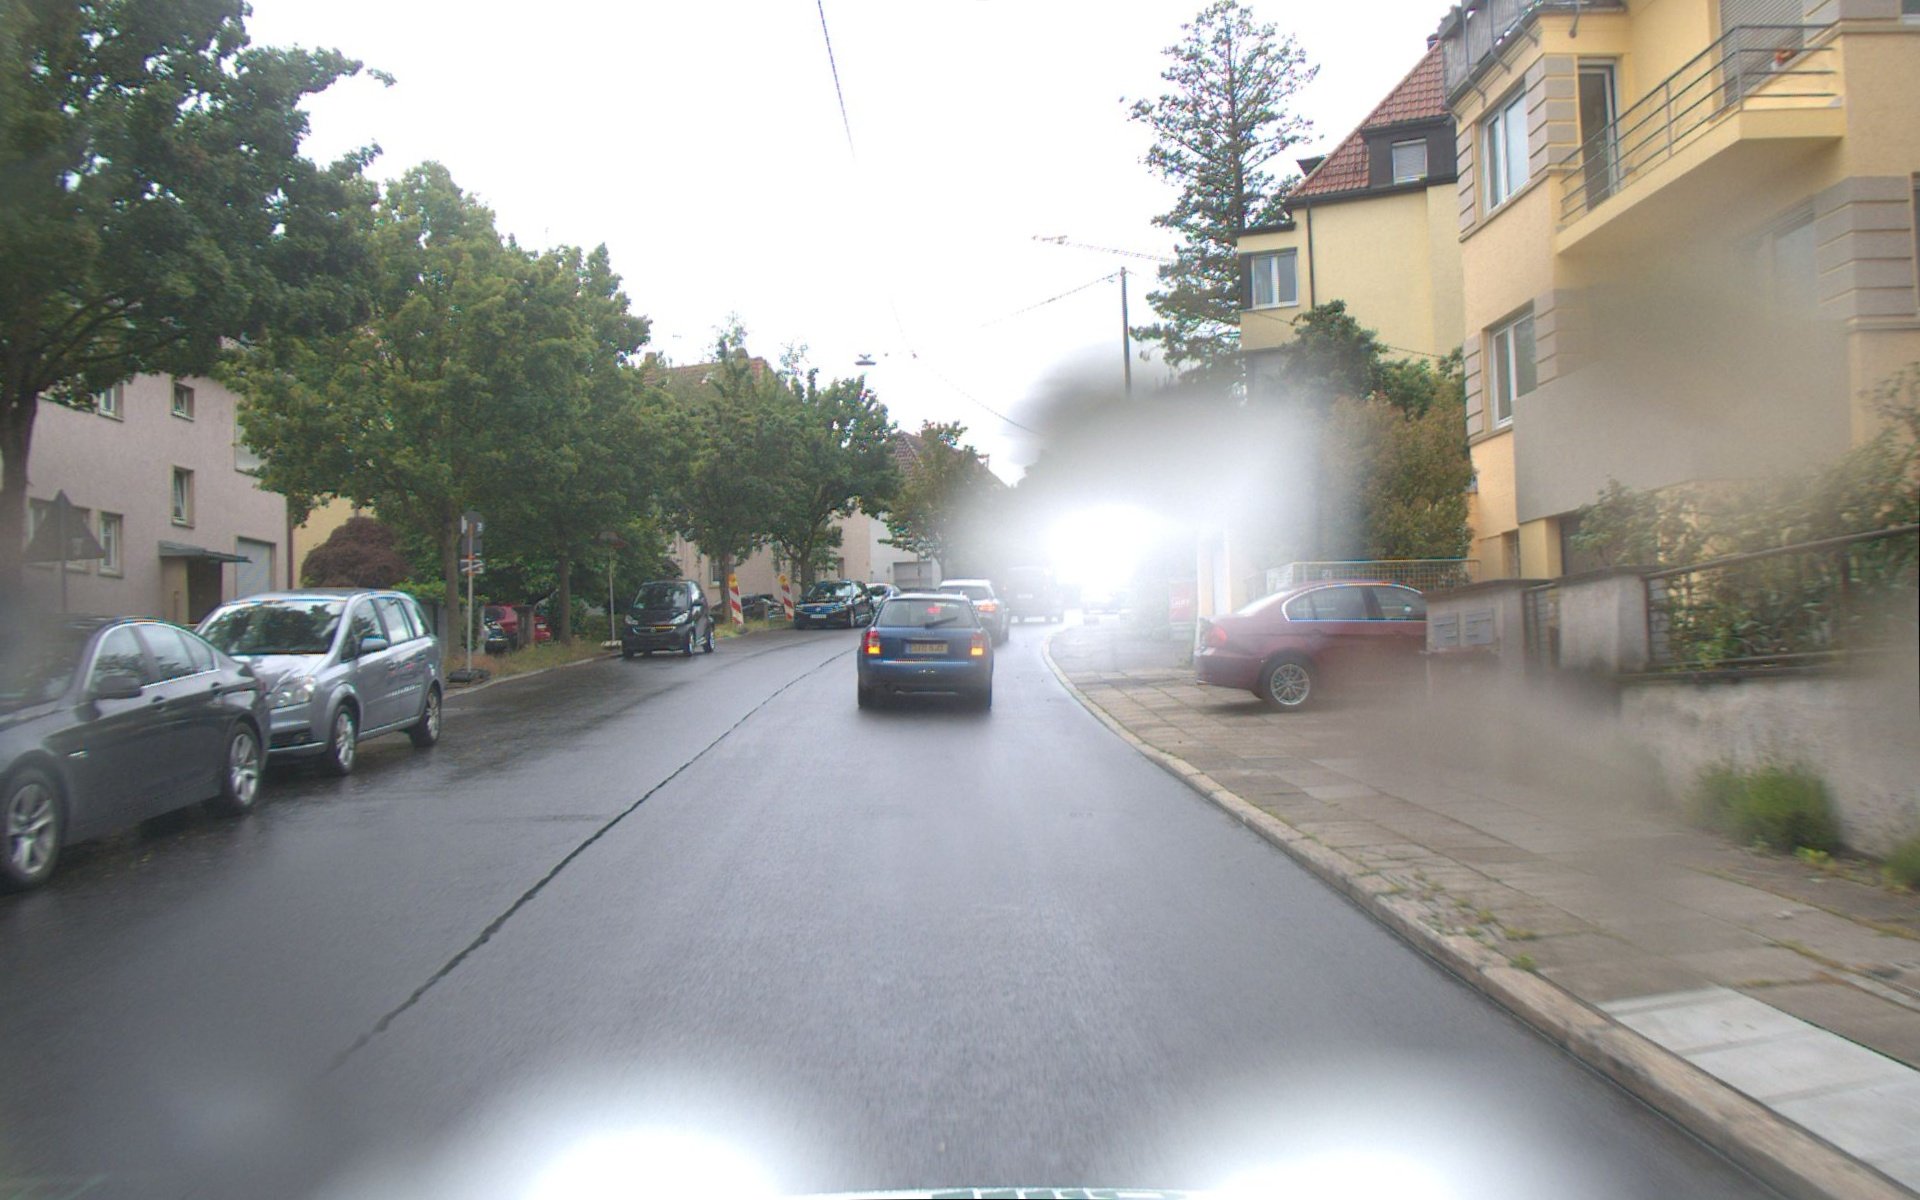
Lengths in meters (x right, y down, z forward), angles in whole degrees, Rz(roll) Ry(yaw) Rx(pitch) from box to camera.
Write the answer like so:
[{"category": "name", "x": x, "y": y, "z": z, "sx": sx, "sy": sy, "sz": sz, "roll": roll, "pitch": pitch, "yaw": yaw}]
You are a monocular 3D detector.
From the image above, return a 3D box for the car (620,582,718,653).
[{"category": "car", "x": -6.122, "y": 0.337, "z": 35.071, "sx": 1.444, "sy": 1.318, "sz": 3.221, "roll": 2, "pitch": 2, "yaw": 0}]

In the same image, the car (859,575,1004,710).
[{"category": "car", "x": -0.404, "y": 0.478, "z": 21.857, "sx": 1.698, "sy": 1.492, "sz": 3.999, "roll": 2, "pitch": 2, "yaw": -2}]

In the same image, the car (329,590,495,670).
[{"category": "car", "x": -12.675, "y": 0.669, "z": 38.356, "sx": 3.146, "sy": 1.395, "sz": 1.683, "roll": -7, "pitch": 2, "yaw": 0}]

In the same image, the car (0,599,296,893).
[{"category": "car", "x": -5.816, "y": 0.768, "z": 10.372, "sx": 1.732, "sy": 1.498, "sz": 4.006, "roll": -2, "pitch": 0, "yaw": -2}]

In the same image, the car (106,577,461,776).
[{"category": "car", "x": -6.149, "y": 0.624, "z": 15.560, "sx": 1.732, "sy": 1.566, "sz": 4.006, "roll": -2, "pitch": 0, "yaw": -2}]

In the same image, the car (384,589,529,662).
[{"category": "car", "x": -12.954, "y": 0.645, "z": 42.669, "sx": 3.147, "sy": 1.395, "sz": 1.480, "roll": -8, "pitch": 2, "yaw": 0}]

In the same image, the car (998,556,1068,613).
[{"category": "car", "x": 2.529, "y": -0.570, "z": 56.053, "sx": 1.696, "sy": 1.799, "sz": 4.239, "roll": 2, "pitch": 2, "yaw": 11}]

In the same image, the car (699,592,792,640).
[{"category": "car", "x": -8.371, "y": 0.624, "z": 64.563, "sx": 3.143, "sy": 1.395, "sz": 1.481, "roll": -7, "pitch": 2, "yaw": 15}]

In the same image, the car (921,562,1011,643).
[{"category": "car", "x": 0.143, "y": 0.002, "z": 38.638, "sx": 1.935, "sy": 1.663, "sz": 4.236, "roll": 2, "pitch": 2, "yaw": 0}]

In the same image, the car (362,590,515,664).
[{"category": "car", "x": -12.762, "y": 0.646, "z": 40.603, "sx": 3.146, "sy": 1.395, "sz": 1.480, "roll": -7, "pitch": 2, "yaw": -1}]

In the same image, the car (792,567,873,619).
[{"category": "car", "x": -3.965, "y": -0.253, "z": 51.932, "sx": 1.697, "sy": 1.492, "sz": 4.004, "roll": 2, "pitch": 2, "yaw": 7}]

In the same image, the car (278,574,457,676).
[{"category": "car", "x": -12.815, "y": 0.517, "z": 35.896, "sx": 3.146, "sy": 1.770, "sz": 1.480, "roll": -7, "pitch": 2, "yaw": -1}]

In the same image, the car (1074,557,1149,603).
[{"category": "car", "x": 6.329, "y": -0.858, "z": 68.636, "sx": 1.699, "sy": 1.799, "sz": 4.232, "roll": 3, "pitch": 2, "yaw": 25}]

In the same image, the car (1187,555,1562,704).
[{"category": "car", "x": 4.699, "y": 0.305, "z": 19.162, "sx": 3.904, "sy": 1.492, "sz": 1.740, "roll": -2, "pitch": 2, "yaw": 2}]
